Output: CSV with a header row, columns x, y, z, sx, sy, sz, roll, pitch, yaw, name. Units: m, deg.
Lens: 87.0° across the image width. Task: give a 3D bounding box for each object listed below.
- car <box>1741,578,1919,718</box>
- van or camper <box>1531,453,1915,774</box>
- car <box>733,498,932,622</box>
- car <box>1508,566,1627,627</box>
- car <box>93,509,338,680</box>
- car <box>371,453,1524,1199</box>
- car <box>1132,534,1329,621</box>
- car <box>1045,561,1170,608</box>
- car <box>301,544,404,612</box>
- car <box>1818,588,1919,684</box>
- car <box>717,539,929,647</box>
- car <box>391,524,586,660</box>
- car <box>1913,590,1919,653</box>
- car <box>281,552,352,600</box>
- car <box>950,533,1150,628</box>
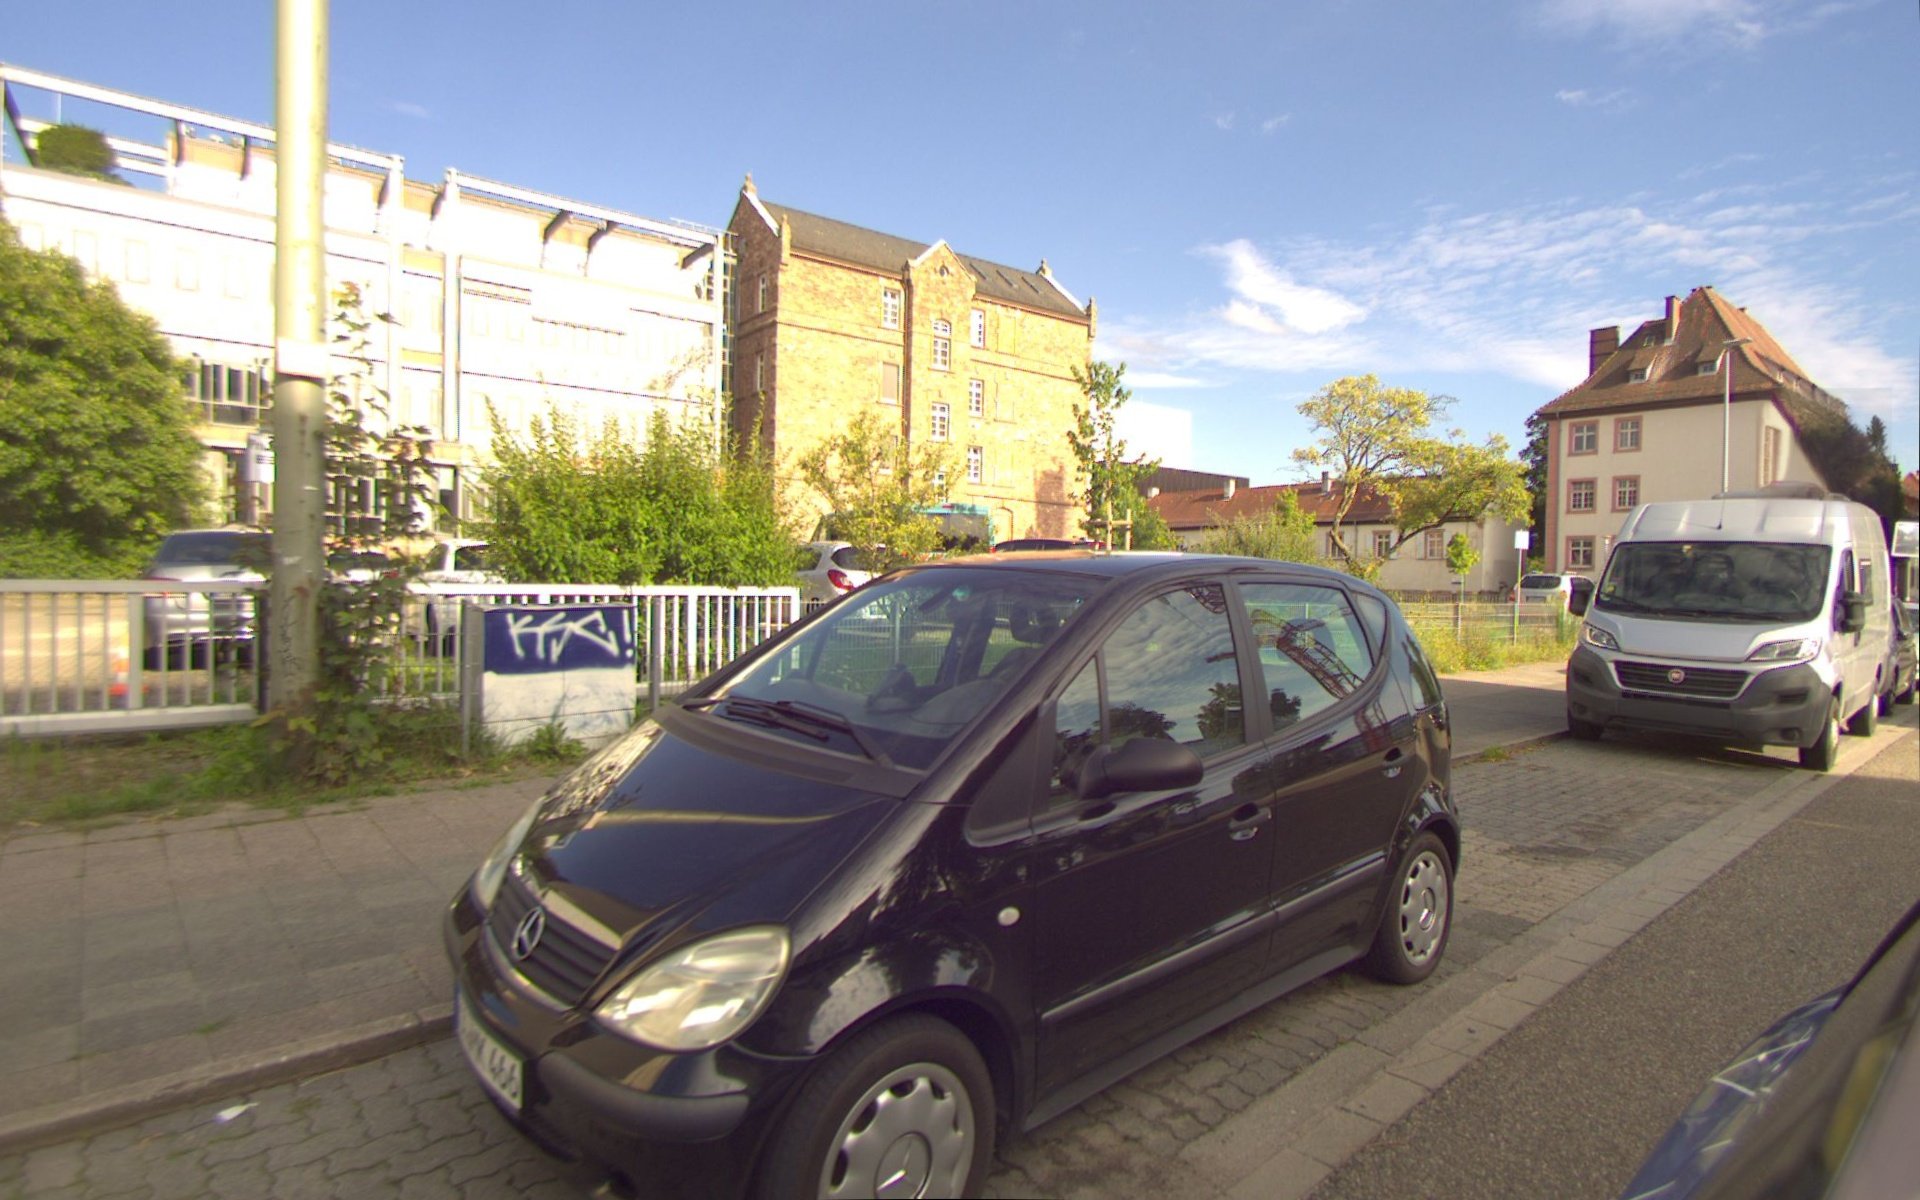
x,y,z,sx,sy,sz,roll,pitch,yaw,name
12.896,0.589,14.647,4.131,1.668,1.677,0,3,-41,car
8.384,0.044,10.838,5.813,2.557,2.163,0,3,-43,van or camper
-2.692,-0.756,20.551,2.321,2.219,4.283,0,1,-34,car
18.850,-0.133,31.330,4.017,1.740,1.889,0,2,-39,car
-8.262,-0.095,11.334,1.835,1.500,4.680,0,1,-36,car
0.349,0.542,3.542,3.903,1.622,1.676,0,2,-43,car
5.704,-0.468,21.684,1.834,1.679,3.800,0,1,-34,car
4.921,-0.507,33.535,4.018,1.470,1.888,0,2,-40,car
-14.174,-0.504,23.524,1.834,1.436,4.092,0,1,-34,car
17.061,0.602,18.331,3.930,1.504,1.662,0,4,-41,car
-2.327,-0.139,16.254,1.834,1.500,4.093,0,1,-32,car
-6.384,-0.129,13.445,1.834,1.500,4.093,0,1,-32,car
24.932,0.570,24.909,3.929,1.504,1.662,0,3,-40,car
-20.921,-0.772,32.821,1.834,1.436,4.092,0,1,-34,car
1.591,-0.366,19.128,1.834,1.584,3.802,0,1,-32,car
